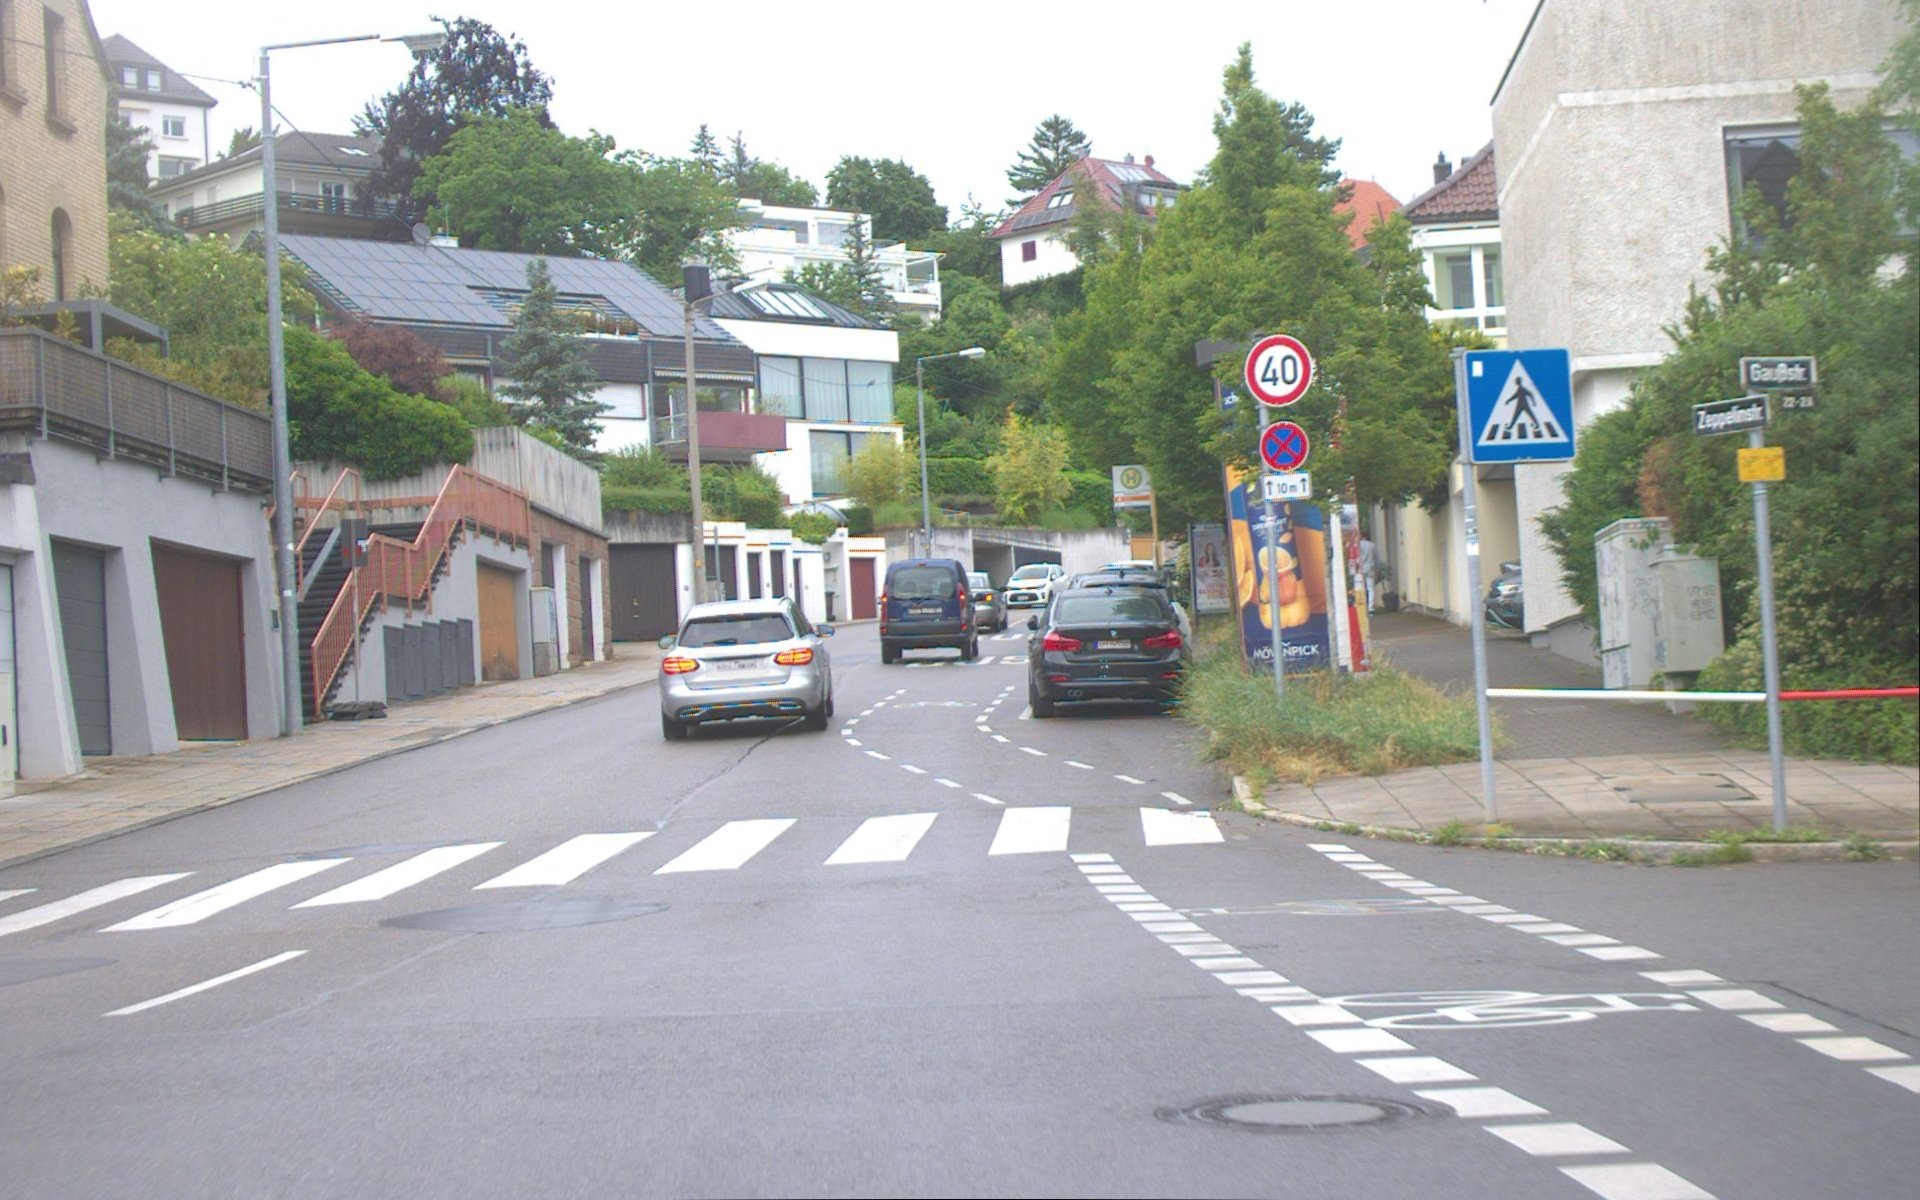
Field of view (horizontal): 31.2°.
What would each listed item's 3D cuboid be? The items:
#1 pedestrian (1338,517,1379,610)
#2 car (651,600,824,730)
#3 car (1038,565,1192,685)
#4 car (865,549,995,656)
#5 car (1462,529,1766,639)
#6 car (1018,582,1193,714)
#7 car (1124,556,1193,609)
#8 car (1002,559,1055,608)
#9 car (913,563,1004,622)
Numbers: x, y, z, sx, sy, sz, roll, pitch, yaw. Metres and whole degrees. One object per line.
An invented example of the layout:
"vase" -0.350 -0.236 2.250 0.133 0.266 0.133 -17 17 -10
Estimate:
"pedestrian" 7.743 -0.706 66.804 0.638 1.789 0.744 -2 0 0
"car" -2.504 0.688 38.110 1.811 1.356 4.000 0 0 -5
"car" 1.989 0.301 45.021 1.715 1.445 3.833 -2 1 -1
"car" -0.511 0.017 62.382 1.824 1.813 3.999 -2 1 7
"car" 9.227 -0.218 48.476 3.990 1.410 1.724 -2 0 18
"car" 1.633 0.512 39.923 1.771 1.373 4.349 -2 1 0
"car" 4.960 -0.444 85.638 1.469 1.250 3.581 -2 1 7
"car" 2.373 -0.566 118.145 1.728 1.601 3.548 -1 0 2
"car" -0.009 -0.192 80.644 1.824 1.292 4.000 -2 1 4
